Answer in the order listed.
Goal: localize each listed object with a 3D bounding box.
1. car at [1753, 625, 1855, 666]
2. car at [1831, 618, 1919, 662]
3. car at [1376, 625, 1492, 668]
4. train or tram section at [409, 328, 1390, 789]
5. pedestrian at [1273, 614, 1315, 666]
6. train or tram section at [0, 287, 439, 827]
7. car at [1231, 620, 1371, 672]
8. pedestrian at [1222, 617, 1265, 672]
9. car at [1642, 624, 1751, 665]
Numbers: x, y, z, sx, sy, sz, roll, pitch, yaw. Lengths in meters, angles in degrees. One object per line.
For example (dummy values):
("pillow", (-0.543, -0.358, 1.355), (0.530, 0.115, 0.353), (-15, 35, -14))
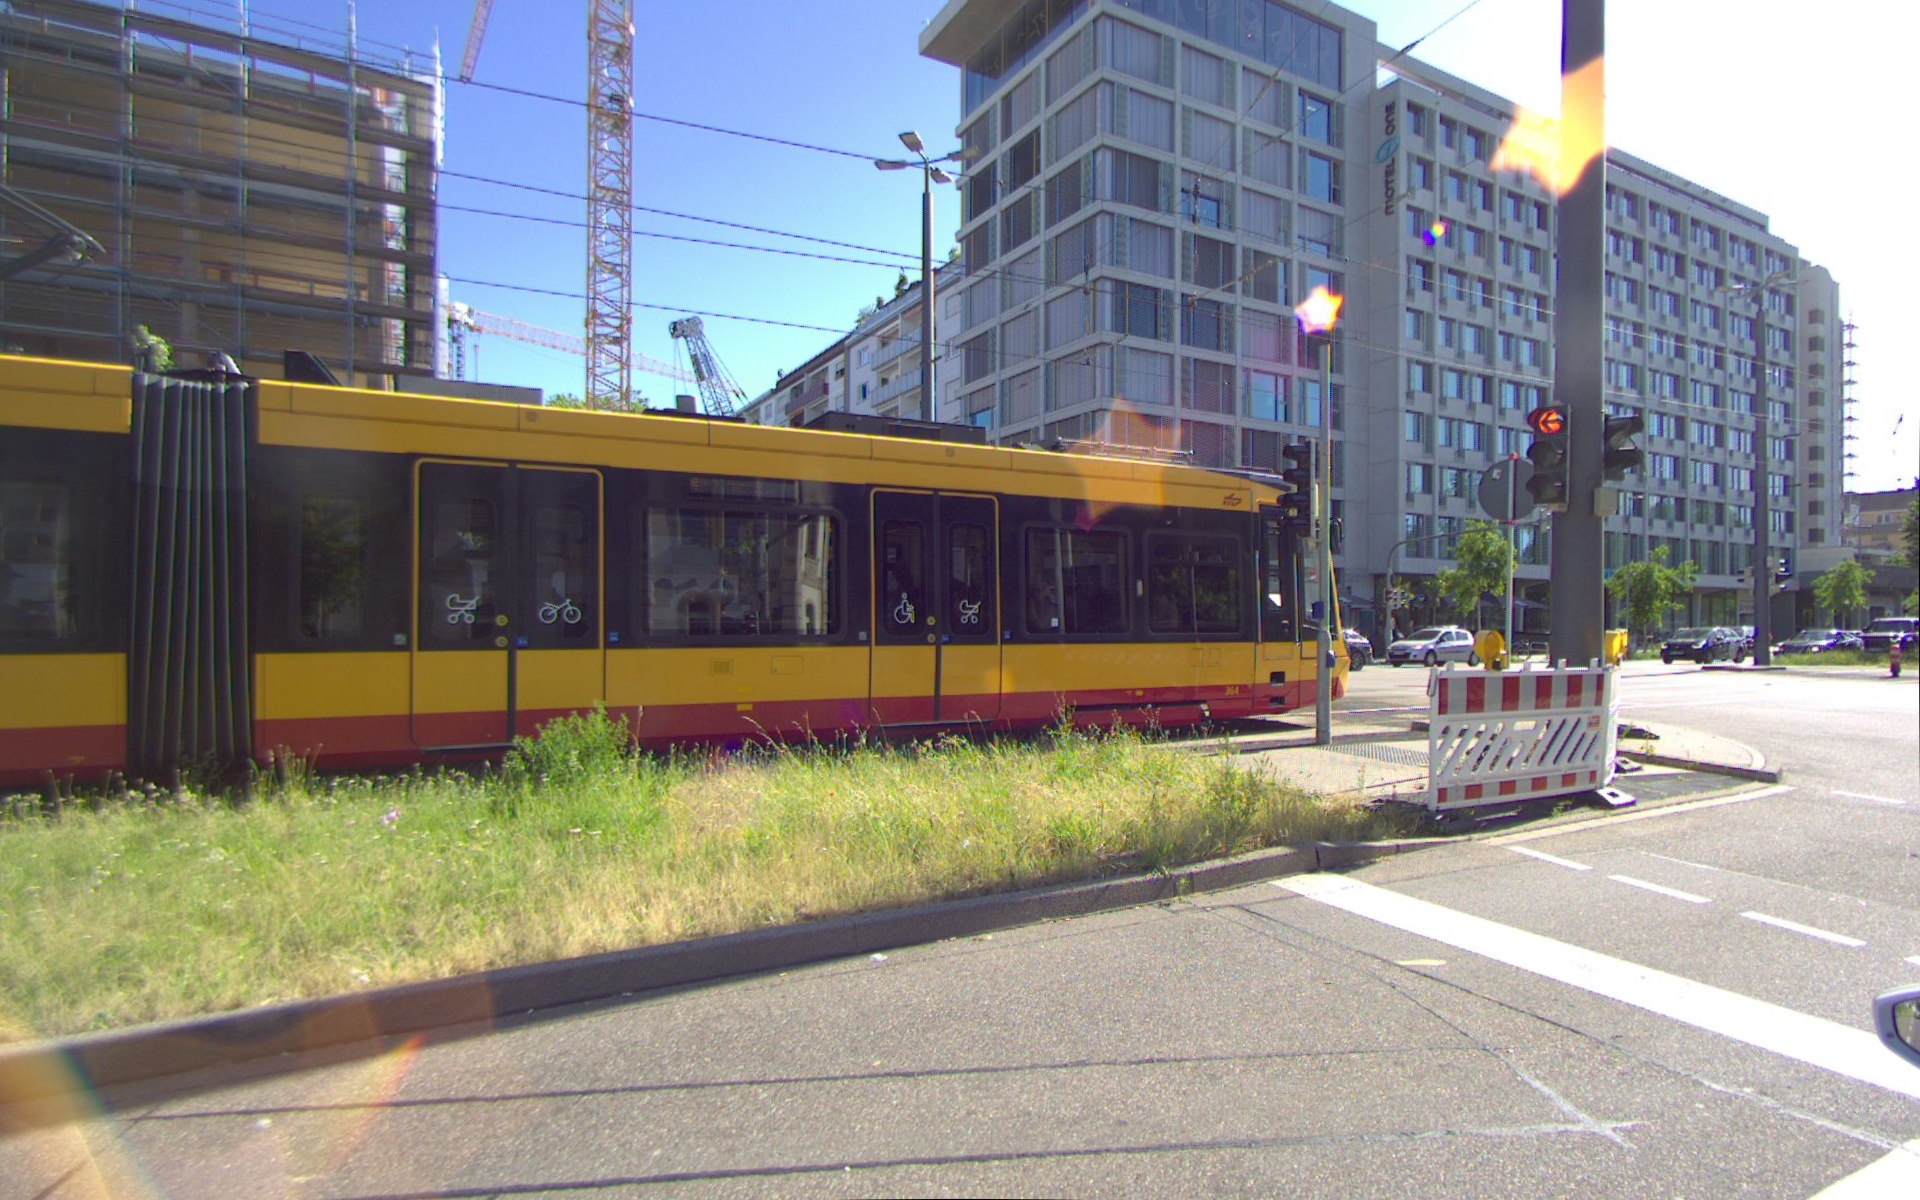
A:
("car", (34.823, 1.849, 41.429), (3.952, 1.572, 1.984), (1, 0, -30))
("car", (41.443, 1.770, 45.227), (4.232, 1.843, 1.985), (1, 0, -28))
("car", (18.503, 1.794, 39.207), (3.944, 1.572, 1.988), (1, 0, -24))
("train or tram section", (0.225, -0.238, 11.698), (11.536, 3.718, 1.985), (1, 0, -28))
("pedestrian", (13.502, 1.614, 40.592), (1.253, 2.040, 1.062), (1, 0, -35))
("train or tram section", (-9.693, -0.351, 6.445), (11.170, 3.718, 1.986), (1, 0, -27))
("car", (11.039, 1.471, 32.533), (3.941, 1.572, 1.990), (1, 0, -22))
("pedestrian", (10.994, 1.705, 38.947), (1.253, 2.040, 1.062), (1, 0, -35))
("car", (30.887, 1.852, 42.118), (3.944, 1.572, 1.988), (1, 0, -24))
